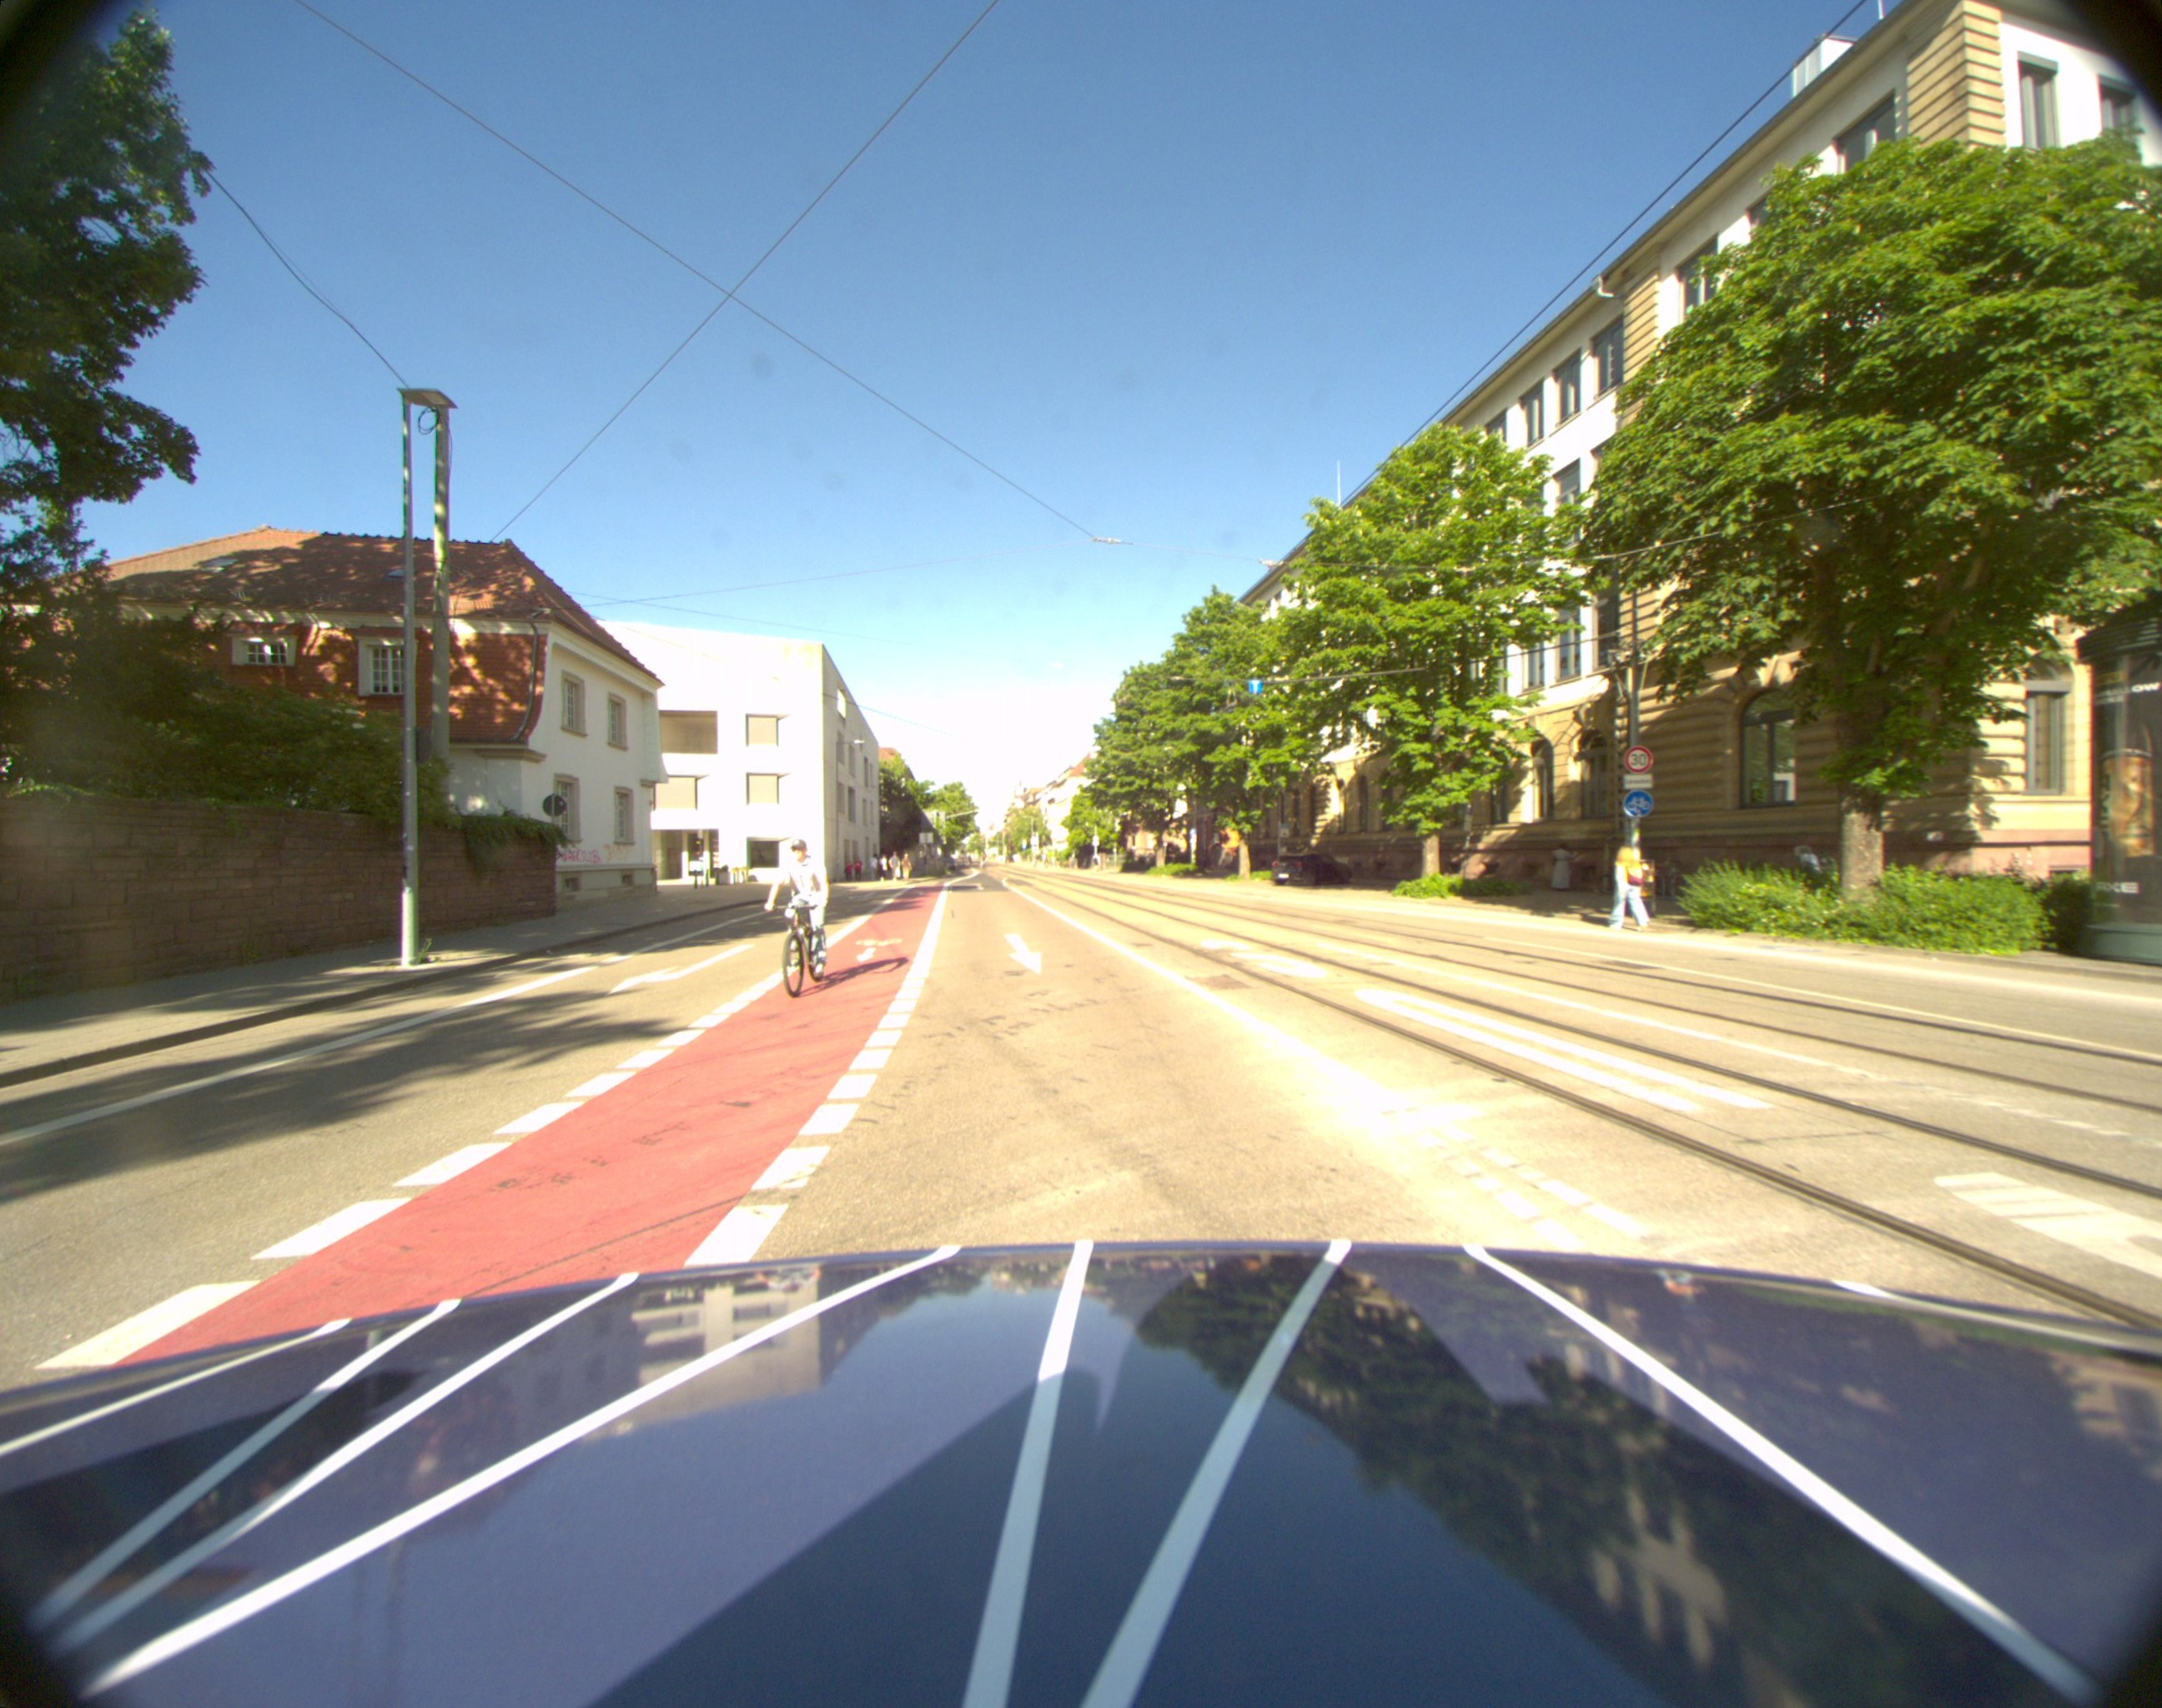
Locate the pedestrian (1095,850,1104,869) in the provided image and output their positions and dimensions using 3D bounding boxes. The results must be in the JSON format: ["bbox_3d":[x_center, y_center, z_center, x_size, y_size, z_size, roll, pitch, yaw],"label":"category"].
[{"bbox_3d":[1.832,0.535,74.772,0.729,1.845,0.653,-1,1,-6],"label":"pedestrian"}]

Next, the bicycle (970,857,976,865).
[{"bbox_3d":[-15.352,1.013,107.983,0.665,1.146,1.671,-2,2,-5],"label":"bicycle"}]

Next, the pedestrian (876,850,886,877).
[{"bbox_3d":[-13.450,0.647,51.145,0.588,1.795,0.582,-1,1,-10],"label":"pedestrian"}]

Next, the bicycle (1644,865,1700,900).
[{"bbox_3d":[16.663,0.778,21.444,0.398,0.898,1.360,-2,2,-7],"label":"bicycle"}]

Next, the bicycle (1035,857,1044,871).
[{"bbox_3d":[-5.687,1.358,103.168,1.003,1.672,2.982,-2,1,-6],"label":"bicycle"}]

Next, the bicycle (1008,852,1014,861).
[{"bbox_3d":[-13.672,0.426,147.965,1.004,1.672,2.981,-2,1,-8],"label":"bicycle"}]

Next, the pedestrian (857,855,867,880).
[{"bbox_3d":[-13.603,0.826,47.130,0.534,1.557,0.519,-1,1,-10],"label":"pedestrian"}]

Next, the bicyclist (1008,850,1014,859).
[{"bbox_3d":[-13.686,0.064,147.947,1.004,1.712,0.983,-2,2,-8],"label":"bicyclist"}]

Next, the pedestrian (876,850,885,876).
[{"bbox_3d":[-14.061,0.632,53.311,0.588,1.795,0.545,-1,1,-10],"label":"pedestrian"}]

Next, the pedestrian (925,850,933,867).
[{"bbox_3d":[-15.729,0.488,78.548,0.679,1.728,0.931,-1,1,-7],"label":"pedestrian"}]

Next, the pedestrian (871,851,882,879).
[{"bbox_3d":[-13.295,0.706,49.427,0.588,1.795,0.545,-1,1,-10],"label":"pedestrian"}]

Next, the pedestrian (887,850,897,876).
[{"bbox_3d":[-13.302,0.635,53.447,0.588,1.795,0.545,-1,1,-10],"label":"pedestrian"}]

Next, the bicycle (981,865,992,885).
[{"bbox_3d":[-9.498,2.095,76.603,1.004,1.876,3.890,-2,1,-7],"label":"bicycle"}]

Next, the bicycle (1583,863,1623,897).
[{"bbox_3d":[15.861,0.776,23.110,0.343,0.951,1.101,-2,2,-7],"label":"bicycle"}]

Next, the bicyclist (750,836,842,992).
[{"bbox_3d":[-3.427,0.686,9.232,0.752,1.765,1.013,-1,1,-5],"label":"bicyclist"}]

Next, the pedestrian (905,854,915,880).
[{"bbox_3d":[-11.202,0.849,49.798,0.588,1.717,0.519,-1,1,-10],"label":"pedestrian"}]

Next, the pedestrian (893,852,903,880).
[{"bbox_3d":[-11.874,0.795,49.362,0.588,1.795,0.519,-1,1,-10],"label":"pedestrian"}]

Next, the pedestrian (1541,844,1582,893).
[{"bbox_3d":[16.034,0.461,25.346,0.858,1.558,0.672,-4,2,-3],"label":"pedestrian"}]

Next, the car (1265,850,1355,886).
[{"bbox_3d":[10.721,0.599,35.422,4.118,1.565,1.916,-1,1,-36],"label":"car"}]

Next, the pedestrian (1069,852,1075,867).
[{"bbox_3d":[-1.066,0.658,90.431,0.579,1.845,0.653,-1,1,-8],"label":"pedestrian"}]

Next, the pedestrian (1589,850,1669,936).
[{"bbox_3d":[10.926,0.755,15.184,0.772,1.660,1.033,0,1,-6],"label":"pedestrian"}]

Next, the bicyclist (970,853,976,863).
[{"bbox_3d":[-15.370,0.538,107.981,0.665,1.453,0.622,-2,2,-5],"label":"bicyclist"}]

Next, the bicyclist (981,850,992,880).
[{"bbox_3d":[-9.533,1.109,76.648,1.004,2.959,1.473,-2,2,-7],"label":"bicyclist"}]

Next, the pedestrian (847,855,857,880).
[{"bbox_3d":[-14.165,0.846,47.033,0.534,1.557,0.519,-1,1,-10],"label":"pedestrian"}]

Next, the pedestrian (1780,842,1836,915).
[{"bbox_3d":[15.841,0.526,16.570,0.579,1.553,0.653,-1,1,-8],"label":"pedestrian"}]

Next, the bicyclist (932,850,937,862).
[{"bbox_3d":[-26.719,0.329,138.767,0.813,2.194,0.983,-2,2,-7],"label":"bicyclist"}]

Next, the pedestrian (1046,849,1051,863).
[{"bbox_3d":[-4.451,0.295,103.291,0.579,1.845,0.684,-1,1,-8],"label":"pedestrian"}]

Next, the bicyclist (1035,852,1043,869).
[{"bbox_3d":[-5.700,0.856,103.107,1.003,2.255,1.020,-2,2,-6],"label":"bicyclist"}]

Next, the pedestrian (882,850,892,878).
[{"bbox_3d":[-12.627,0.662,49.438,0.588,1.795,0.545,-1,1,-10],"label":"pedestrian"}]

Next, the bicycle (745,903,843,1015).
[{"bbox_3d":[-3.407,1.201,9.177,0.613,1.071,1.829,-1,0,-5],"label":"bicycle"}]

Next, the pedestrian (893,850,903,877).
[{"bbox_3d":[-12.460,0.644,51.693,0.588,1.795,0.582,-1,1,-10],"label":"pedestrian"}]
